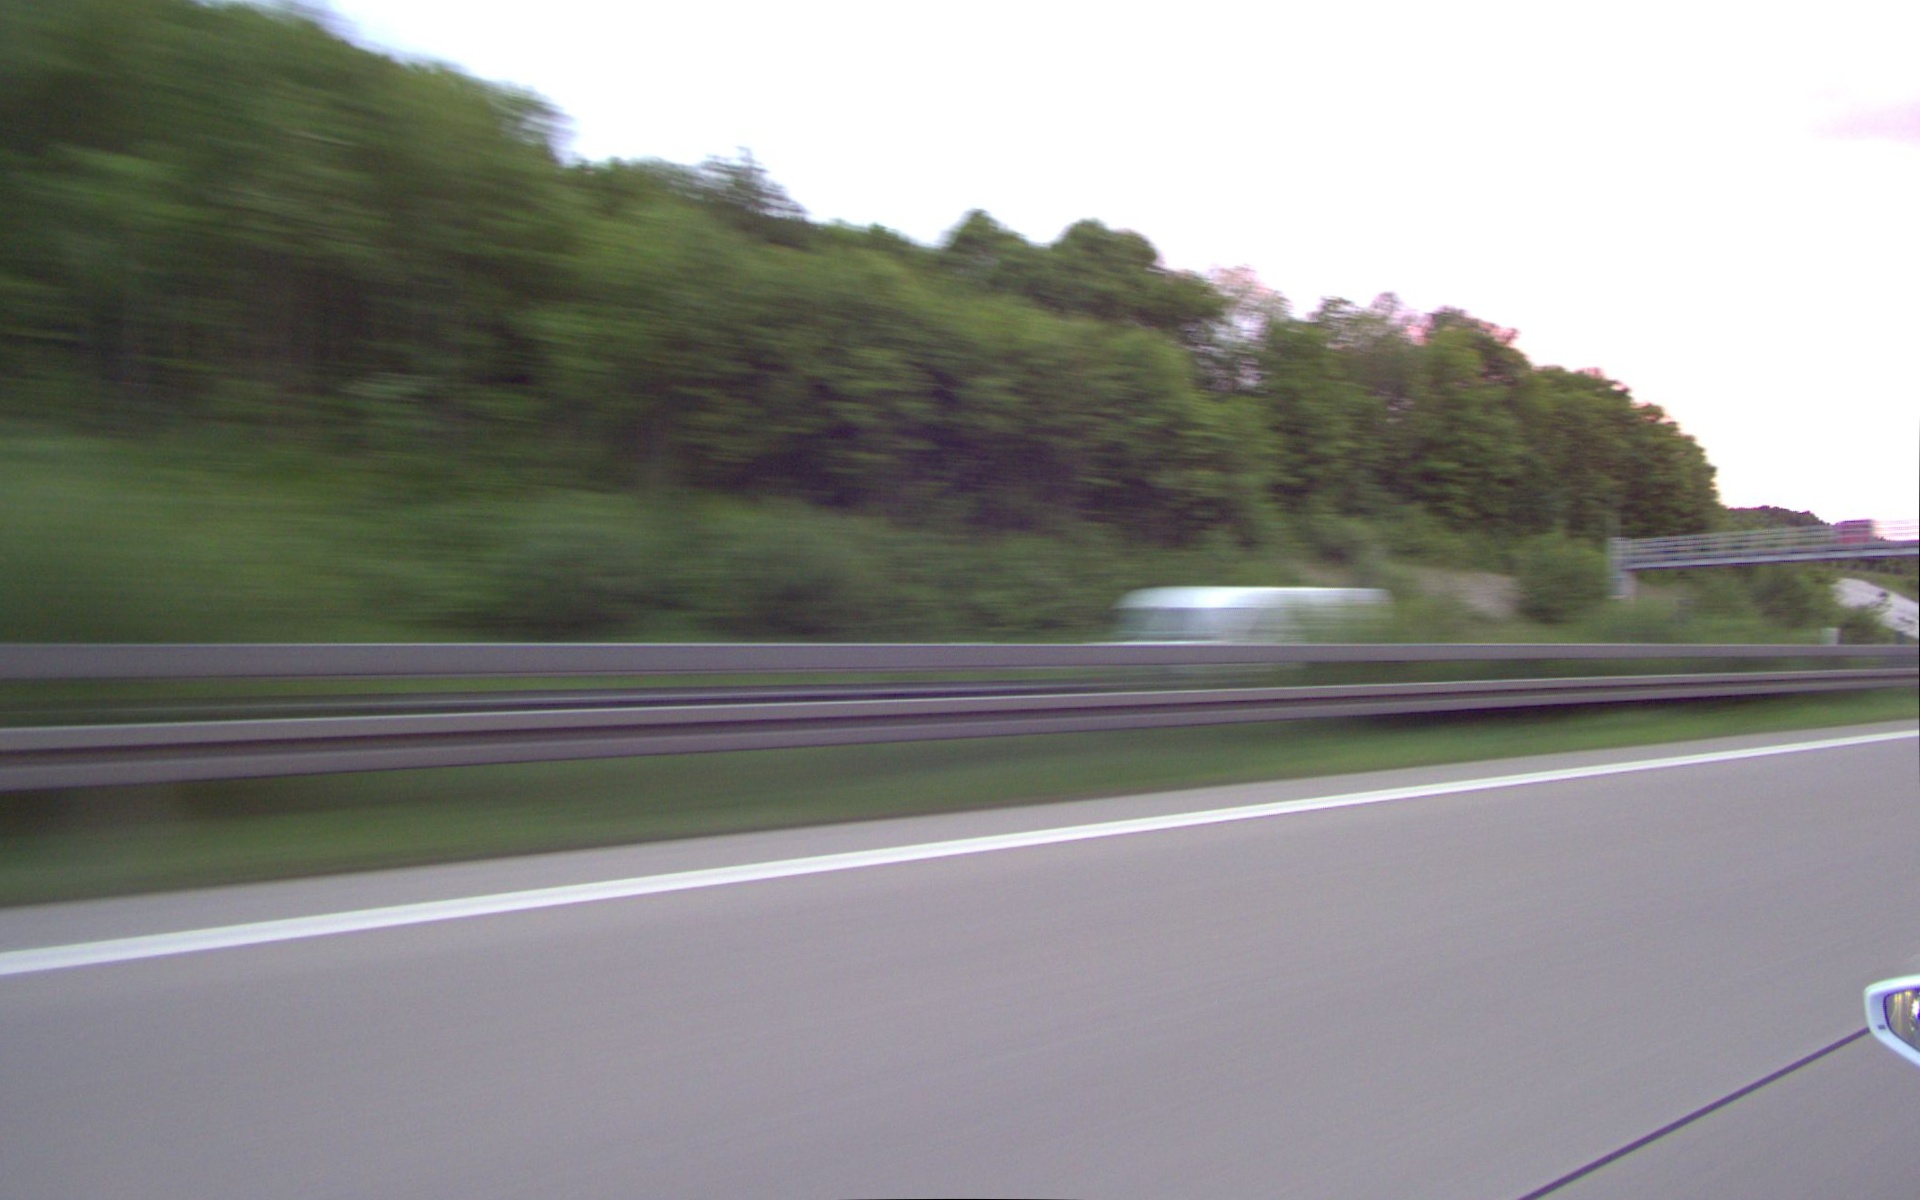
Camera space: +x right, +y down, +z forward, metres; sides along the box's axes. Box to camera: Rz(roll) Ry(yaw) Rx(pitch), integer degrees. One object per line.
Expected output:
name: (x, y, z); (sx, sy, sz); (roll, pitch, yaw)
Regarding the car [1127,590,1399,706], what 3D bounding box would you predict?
car: (7.131, 1.079, 23.303); (6.642, 2.390, 2.127); (2, -1, -31)
